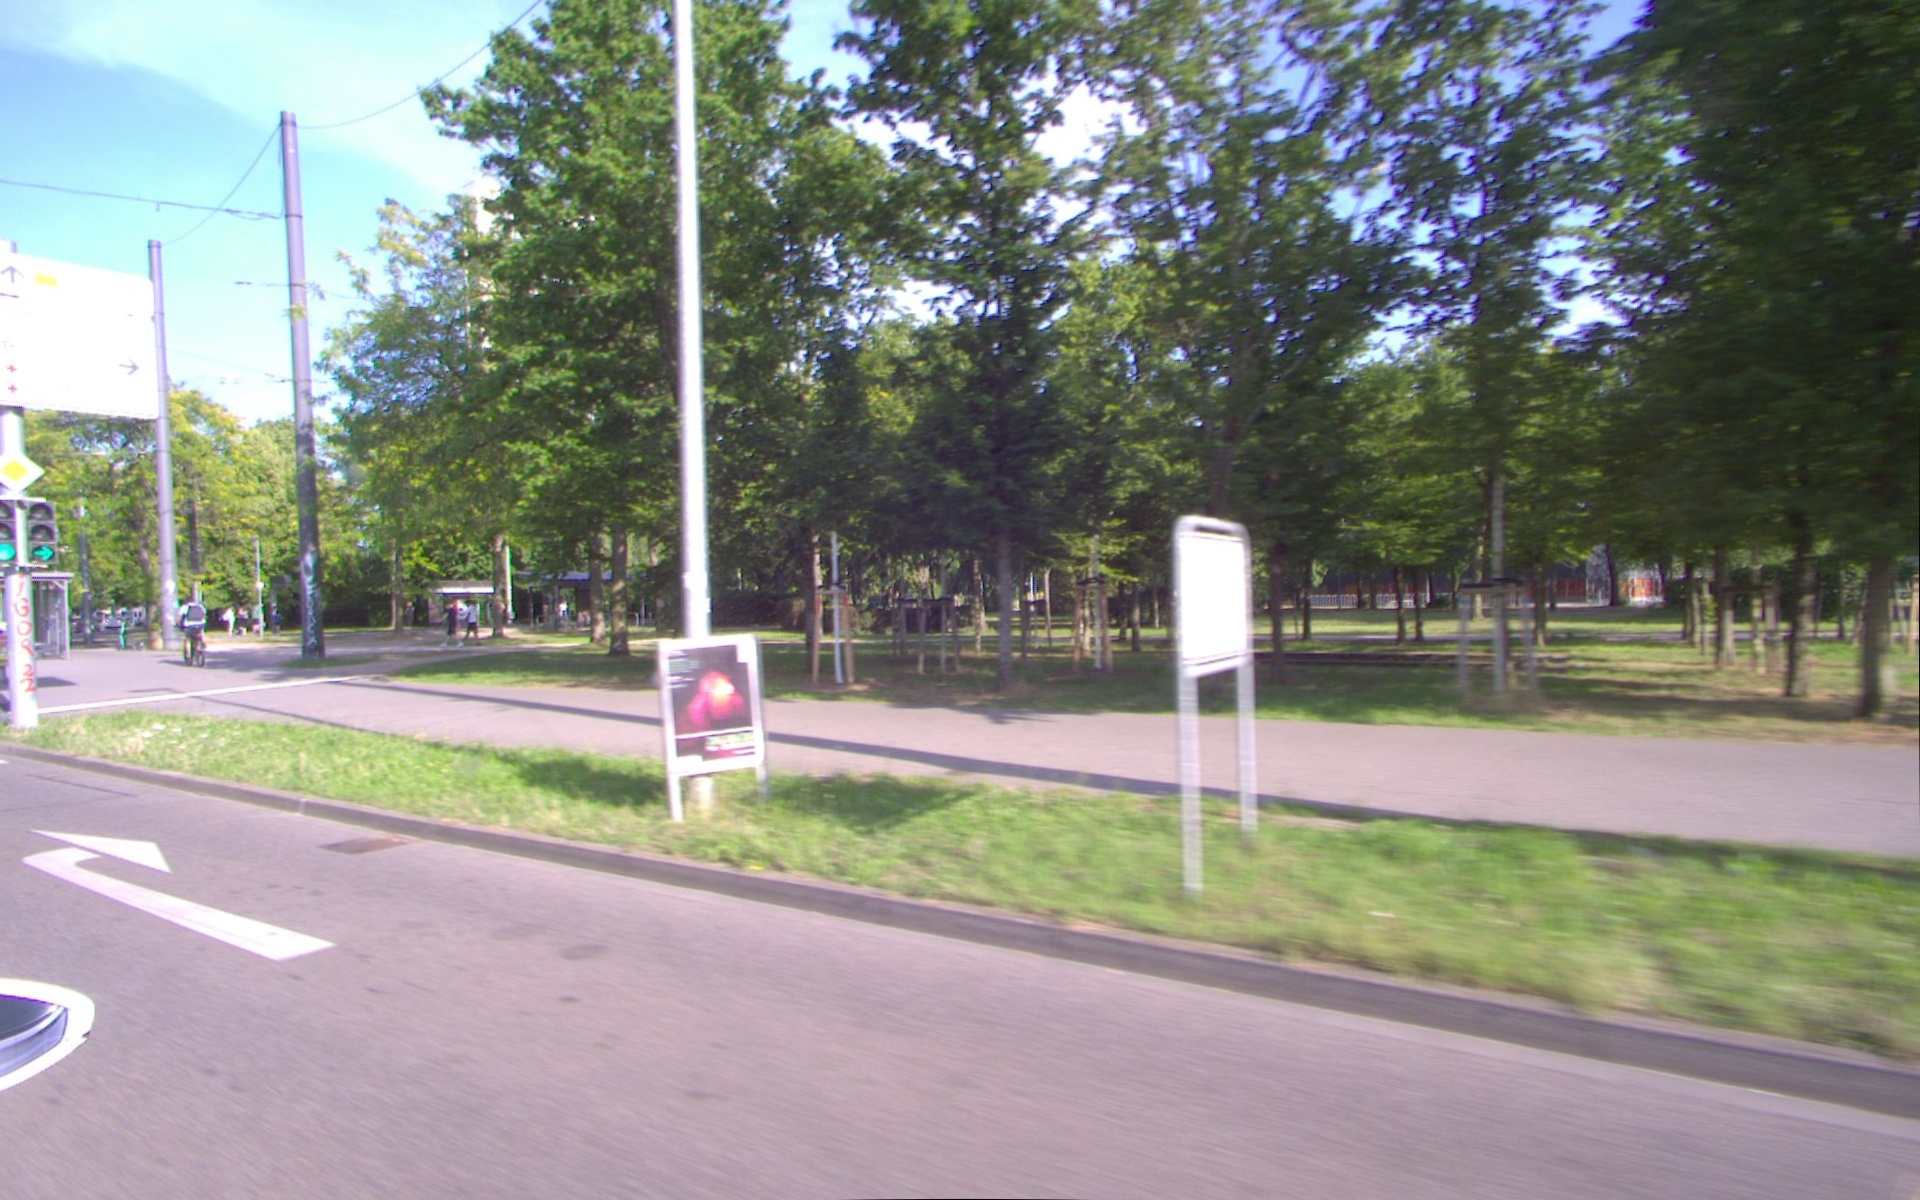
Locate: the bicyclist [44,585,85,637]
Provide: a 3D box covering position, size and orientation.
[{"bbox_3d":[-31.514,0.380,35.245,1.125,1.770,0.717,-1,4,36],"label":"bicyclist"}]

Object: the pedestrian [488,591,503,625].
[{"bbox_3d":[-26.177,0.441,56.446,0.594,1.891,0.462,-1,-1,1],"label":"pedestrian"}]

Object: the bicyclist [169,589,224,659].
[{"bbox_3d":[-19.875,0.622,26.068,1.124,1.770,0.647,-1,4,31],"label":"bicyclist"}]

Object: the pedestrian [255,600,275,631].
[{"bbox_3d":[-37.382,0.837,53.855,0.681,1.687,0.639,-1,1,32],"label":"pedestrian"}]

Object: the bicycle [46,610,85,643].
[{"bbox_3d":[-31.709,0.949,35.489,1.711,1.103,0.638,-1,3,36],"label":"bicycle"}]

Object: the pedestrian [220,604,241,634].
[{"bbox_3d":[-39.500,1.038,54.219,0.681,1.632,0.639,-1,1,32],"label":"pedestrian"}]

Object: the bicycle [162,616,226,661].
[{"bbox_3d":[-20.053,0.994,26.210,1.912,1.103,0.639,-1,3,32],"label":"bicycle"}]

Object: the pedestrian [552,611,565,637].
[{"bbox_3d":[-28.768,1.724,71.723,0.667,1.823,0.605,1,-1,-44],"label":"pedestrian"}]

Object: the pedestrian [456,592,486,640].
[{"bbox_3d":[-19.499,0.642,39.926,0.863,1.922,0.673,0,-1,5],"label":"pedestrian"}]

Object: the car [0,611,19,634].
[{"bbox_3d":[-65.632,1.566,67.700,1.831,1.536,3.982,-3,1,-27],"label":"car"}]

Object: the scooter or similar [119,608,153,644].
[{"bbox_3d":[-29.130,0.927,35.382,1.115,1.248,0.351,-1,1,18],"label":"scooter or similar"}]

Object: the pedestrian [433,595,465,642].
[{"bbox_3d":[-19.920,0.734,39.019,0.863,1.800,0.673,0,-1,13],"label":"pedestrian"}]

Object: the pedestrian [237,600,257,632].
[{"bbox_3d":[-38.455,0.857,54.039,0.681,1.687,0.639,-1,1,32],"label":"pedestrian"}]
